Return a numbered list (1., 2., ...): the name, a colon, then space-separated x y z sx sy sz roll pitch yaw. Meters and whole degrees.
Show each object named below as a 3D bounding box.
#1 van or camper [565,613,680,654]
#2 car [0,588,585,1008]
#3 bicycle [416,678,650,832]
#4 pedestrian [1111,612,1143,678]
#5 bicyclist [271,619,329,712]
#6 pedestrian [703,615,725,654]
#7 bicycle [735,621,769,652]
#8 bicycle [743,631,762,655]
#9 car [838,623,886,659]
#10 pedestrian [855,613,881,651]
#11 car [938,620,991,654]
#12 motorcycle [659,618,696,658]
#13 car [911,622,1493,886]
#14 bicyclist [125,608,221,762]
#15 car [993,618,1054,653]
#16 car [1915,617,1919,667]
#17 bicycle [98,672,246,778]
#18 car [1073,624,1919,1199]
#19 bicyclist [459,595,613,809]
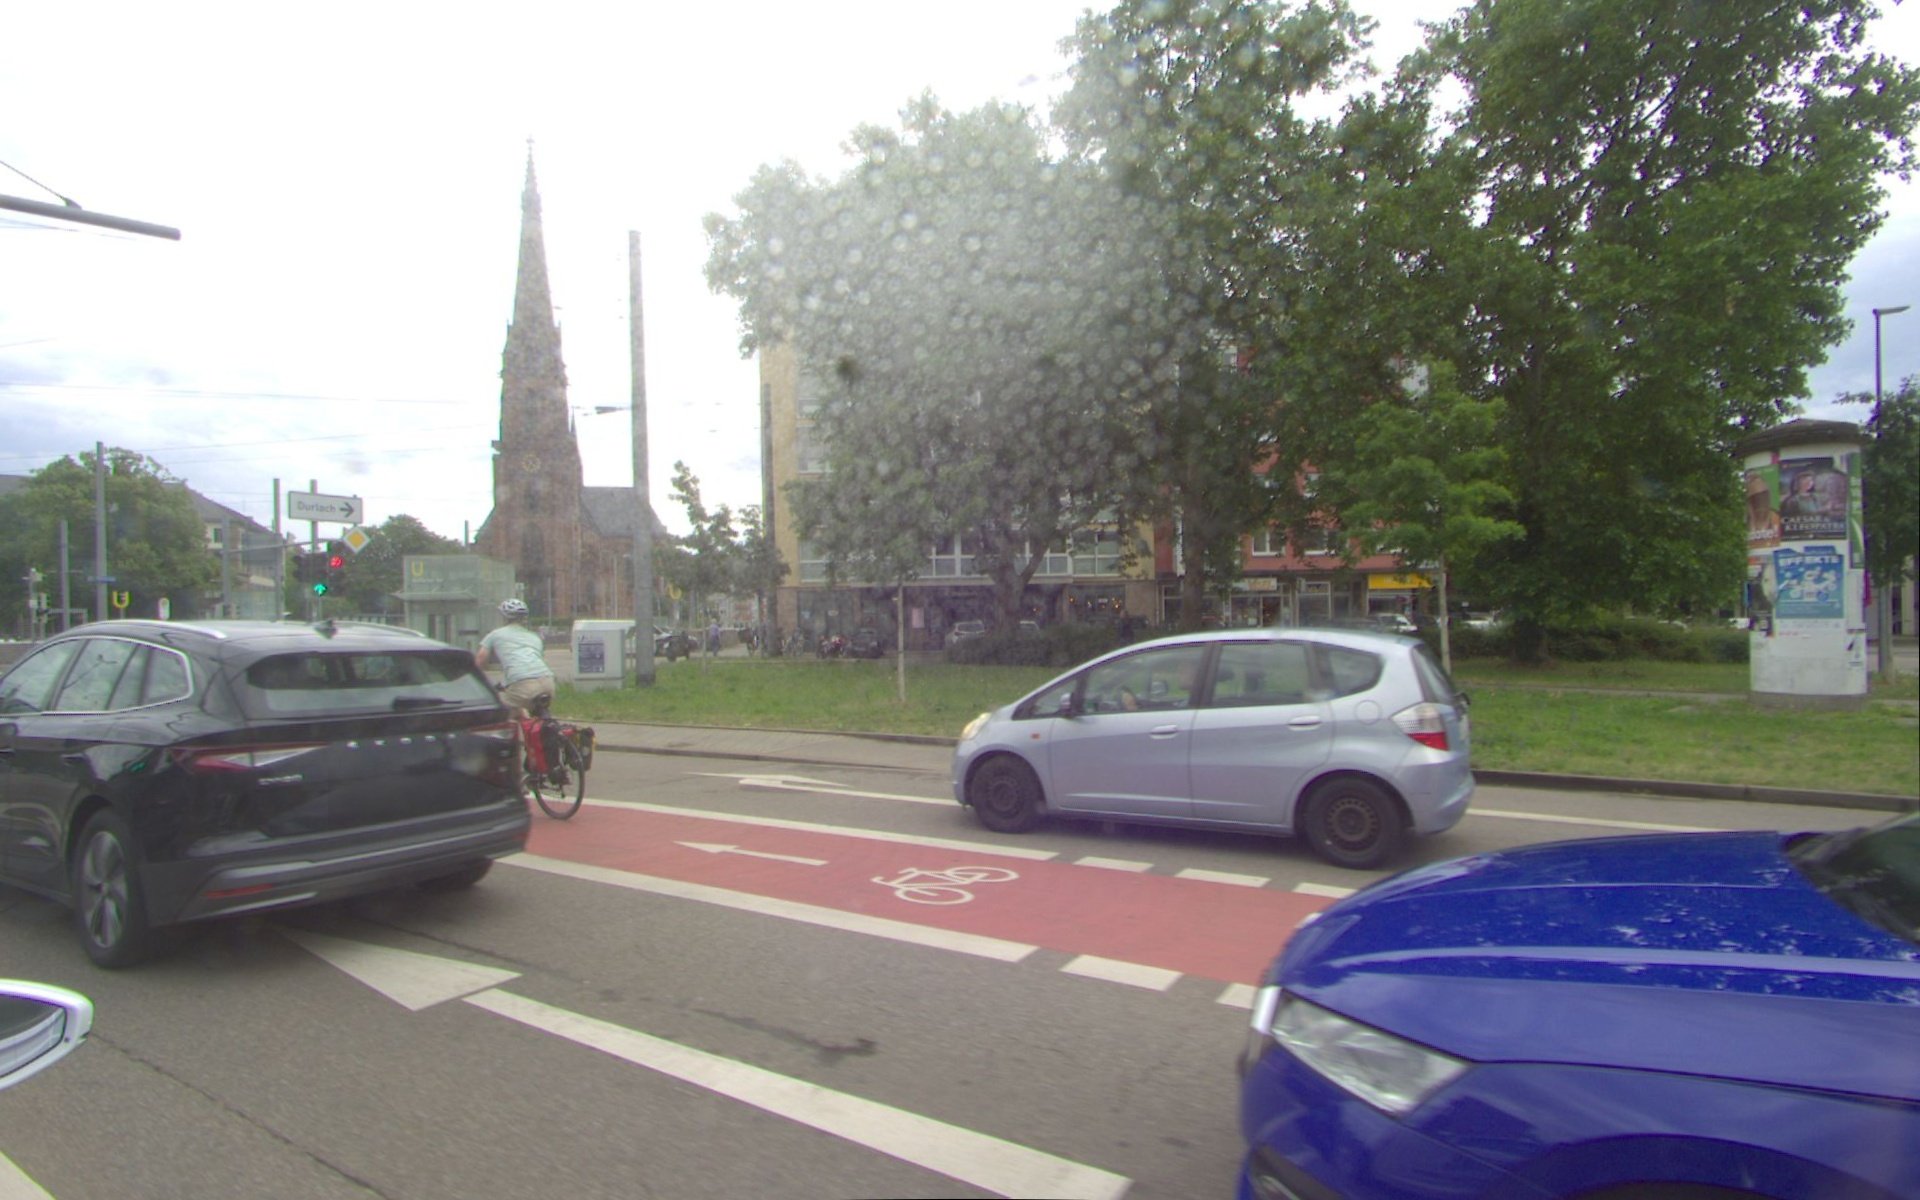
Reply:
1. van or camper: -17.957 1.753 53.449 5.404 2.004 2.155 0 -1 -40
2. car: -4.503 0.848 5.990 4.449 1.680 1.900 -1 -1 32
3. bicycle: -3.569 1.219 8.316 1.987 1.092 0.760 -1 -2 30
4. pedestrian: 4.801 1.290 28.824 0.881 1.843 0.866 -1 0 8
5. bicyclist: -12.937 1.271 19.647 0.574 1.775 0.734 -1 0 6
6. pedestrian: -11.357 1.583 46.300 0.797 1.760 0.906 -1 0 -2
7. bicycle: -9.764 1.695 47.094 0.886 1.395 2.784 -1 -1 2
8. bicycle: -10.953 2.257 52.887 0.657 1.184 2.040 -1 0 -3
9. car: -4.411 1.813 45.461 1.806 1.462 4.166 -1 0 -1
10. pedestrian: -4.512 1.560 49.138 1.032 1.780 0.786 -1 1 -22
11. car: 0.149 1.677 46.320 1.962 1.483 3.999 -1 -1 -7
12. motorcycle: -10.440 1.392 37.127 1.027 1.384 2.291 -1 0 -9
13. car: 1.715 0.948 7.424 3.876 1.502 1.703 -2 -2 31
14. bicyclist: -9.113 0.956 11.600 0.794 1.712 0.614 0 0 30
15. car: 2.903 1.601 46.657 1.962 1.461 3.997 -1 0 -9
16. car: 29.817 1.273 28.588 1.858 1.564 4.872 -1 0 20
17. bicycle: -9.154 1.410 11.611 2.094 1.069 0.624 -1 0 30
18. car: 2.652 0.749 1.342 4.690 1.454 1.762 -2 -2 32
19. bicyclist: -3.493 0.808 8.273 0.919 1.638 0.788 -1 -2 31
